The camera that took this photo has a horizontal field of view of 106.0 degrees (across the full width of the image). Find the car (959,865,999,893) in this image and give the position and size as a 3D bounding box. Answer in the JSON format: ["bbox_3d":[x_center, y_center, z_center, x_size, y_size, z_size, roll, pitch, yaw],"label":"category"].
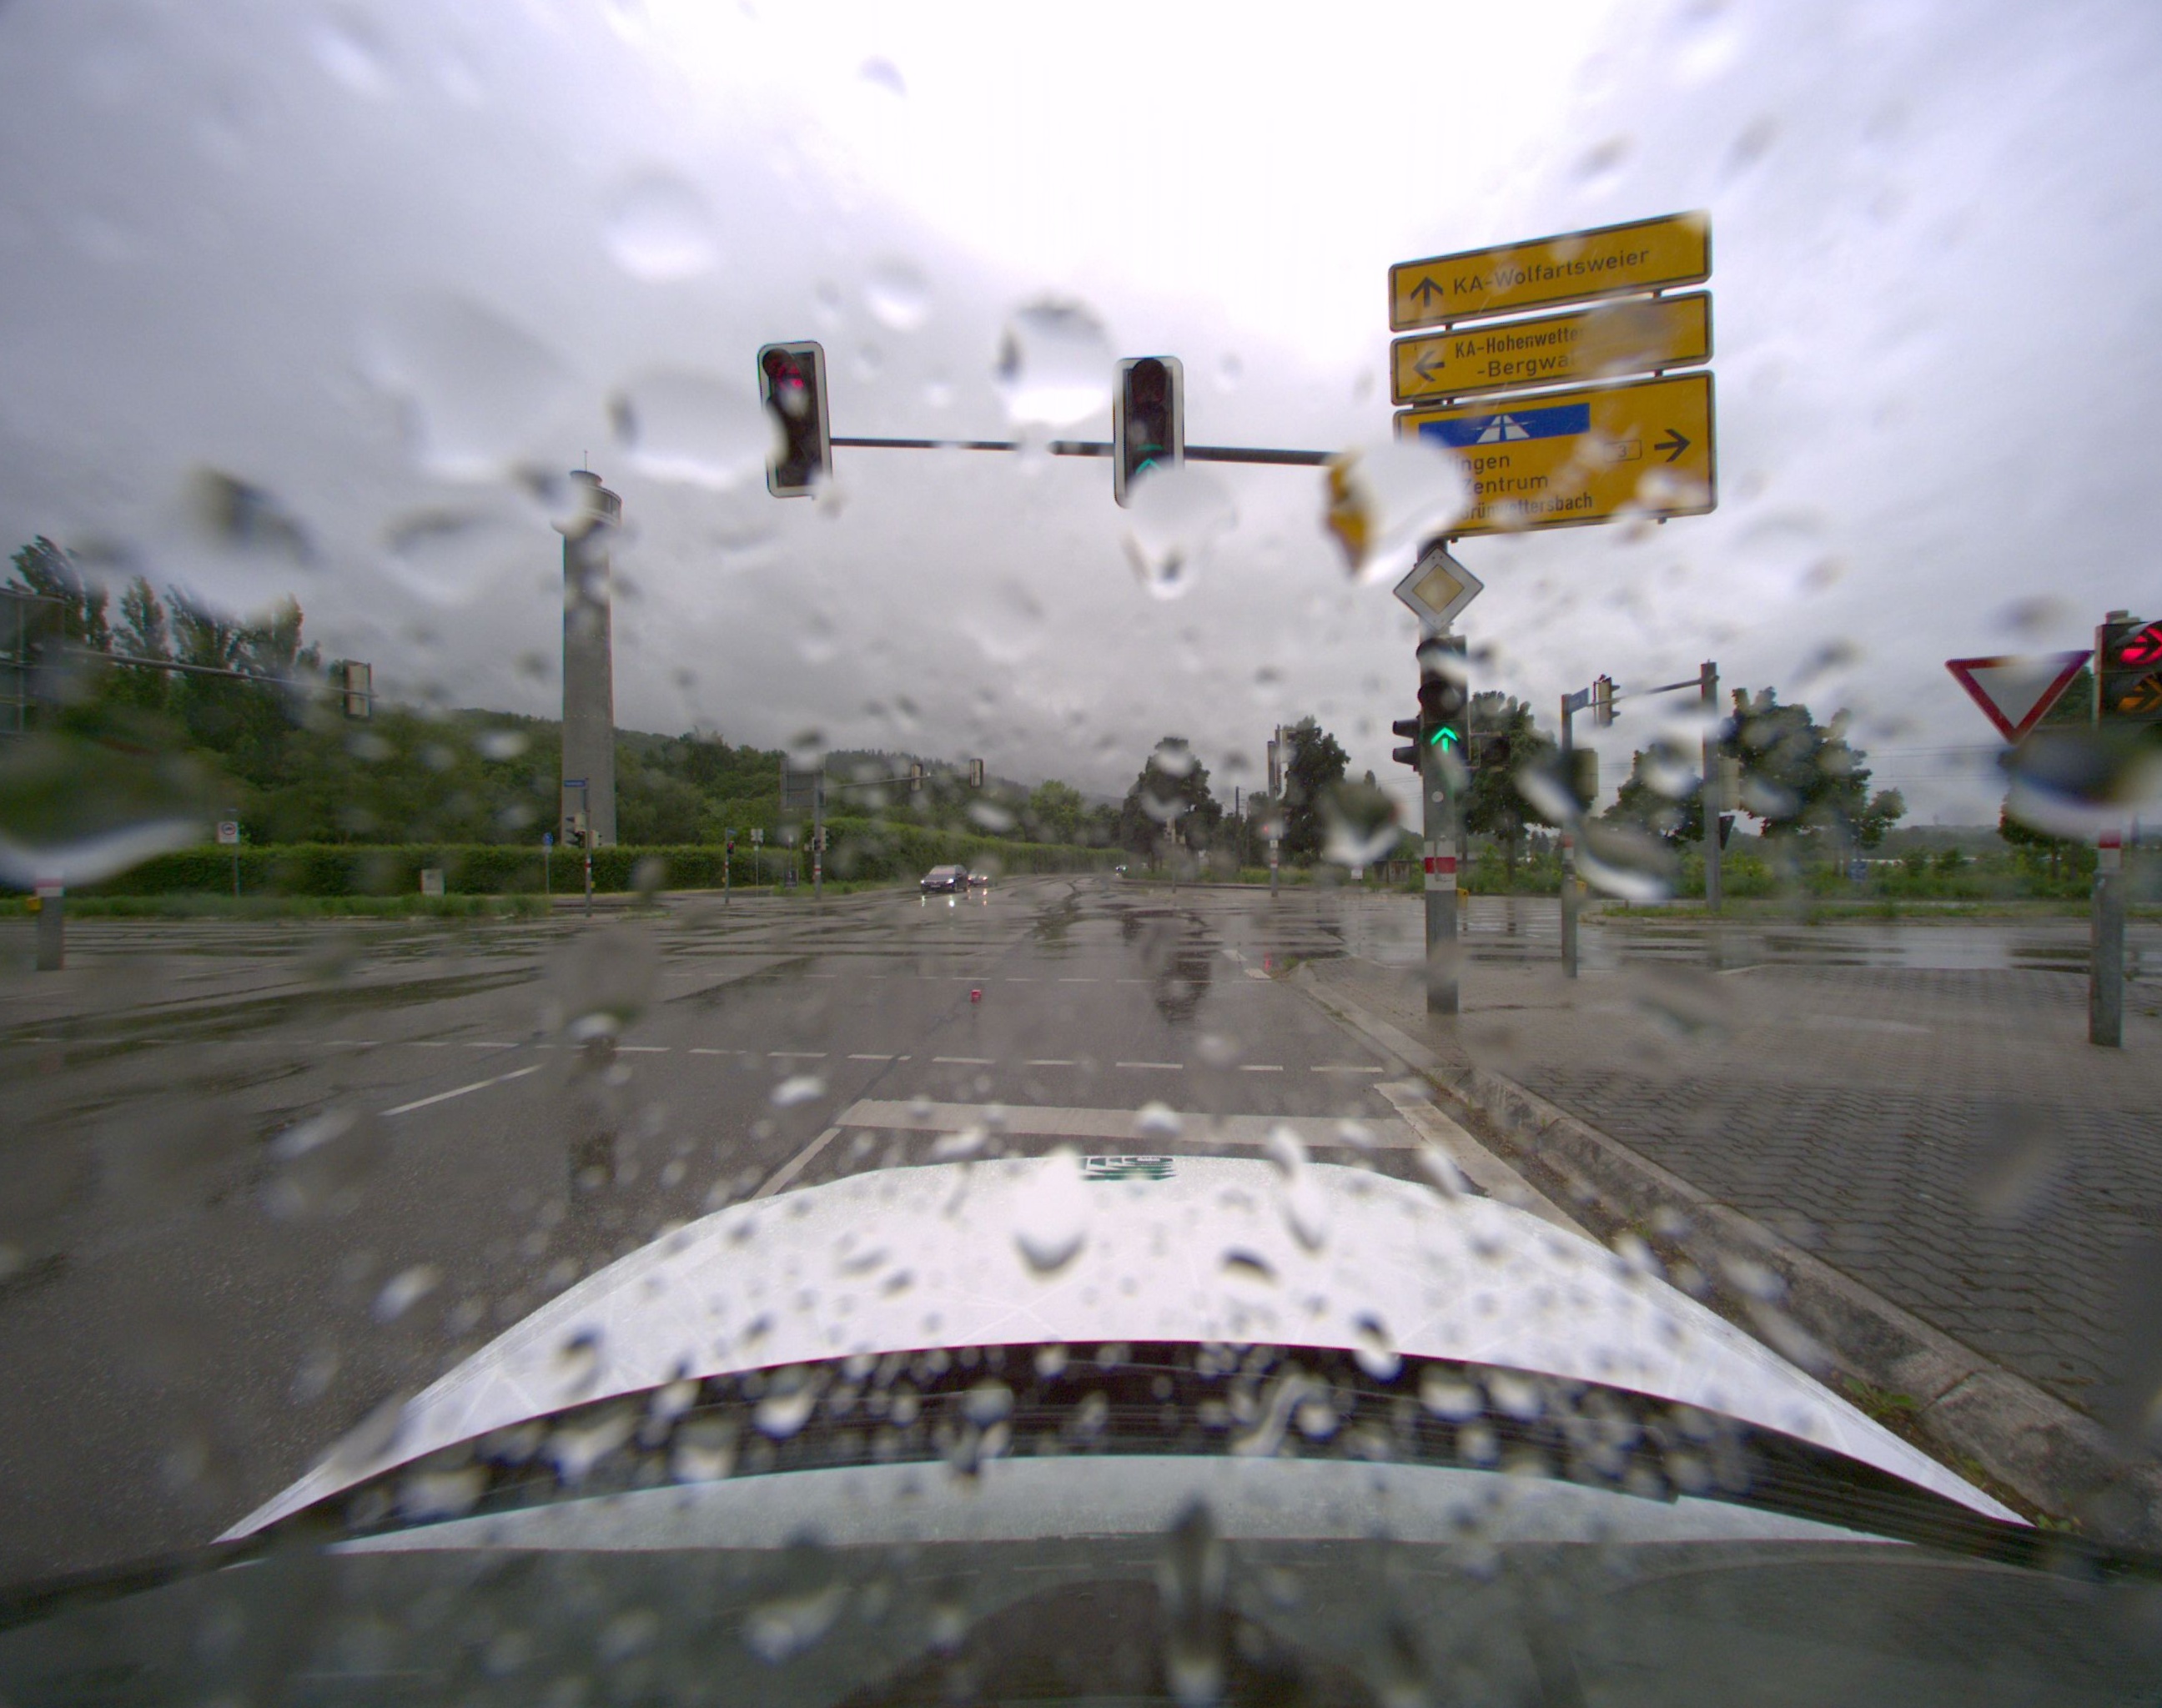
[{"bbox_3d":[-6.709,1.602,54.096,2.029,1.708,4.067,-1,0,2],"label":"car"}]

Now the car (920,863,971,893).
[{"bbox_3d":[-7.214,1.243,43.769,1.701,1.466,4.458,-1,0,4],"label":"car"}]

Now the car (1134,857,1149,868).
[{"bbox_3d":[11.179,1.622,150.318,1.939,1.904,4.137,-1,0,15],"label":"car"}]
